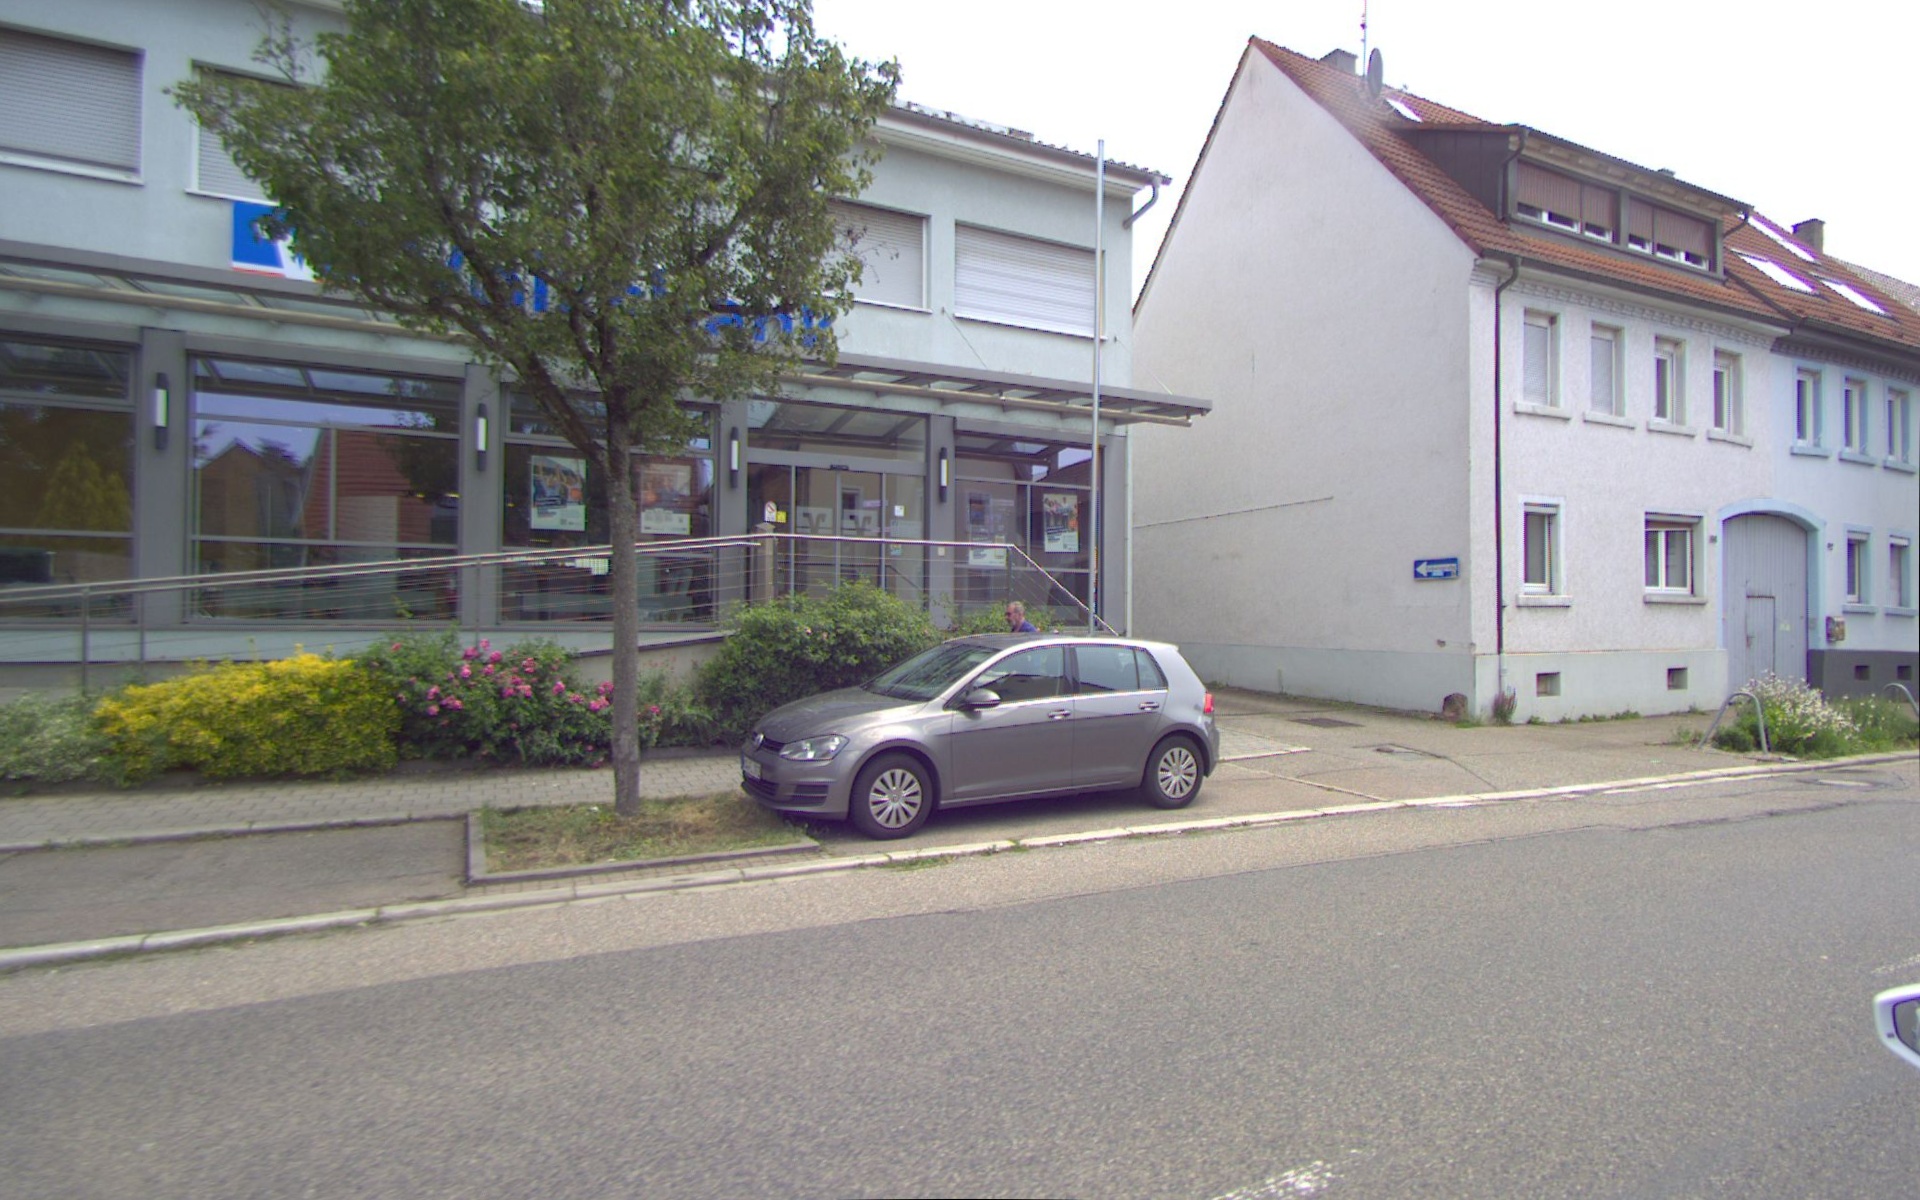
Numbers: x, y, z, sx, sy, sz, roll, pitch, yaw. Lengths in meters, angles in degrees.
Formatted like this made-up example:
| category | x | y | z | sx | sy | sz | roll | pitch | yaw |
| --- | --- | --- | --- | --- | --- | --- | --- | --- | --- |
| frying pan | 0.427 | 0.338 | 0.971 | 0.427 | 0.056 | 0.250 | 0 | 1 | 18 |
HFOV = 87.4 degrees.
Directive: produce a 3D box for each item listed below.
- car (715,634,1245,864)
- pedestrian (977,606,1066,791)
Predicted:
| category | x | y | z | sx | sy | sz | roll | pitch | yaw |
| --- | --- | --- | --- | --- | --- | --- | --- | --- | --- |
| car | 0.227 | 1.040 | 8.395 | 4.107 | 1.480 | 1.796 | 1 | -1 | -29 |
| pedestrian | 0.633 | 0.997 | 10.445 | 0.635 | 1.825 | 0.735 | 2 | -3 | -30 |
